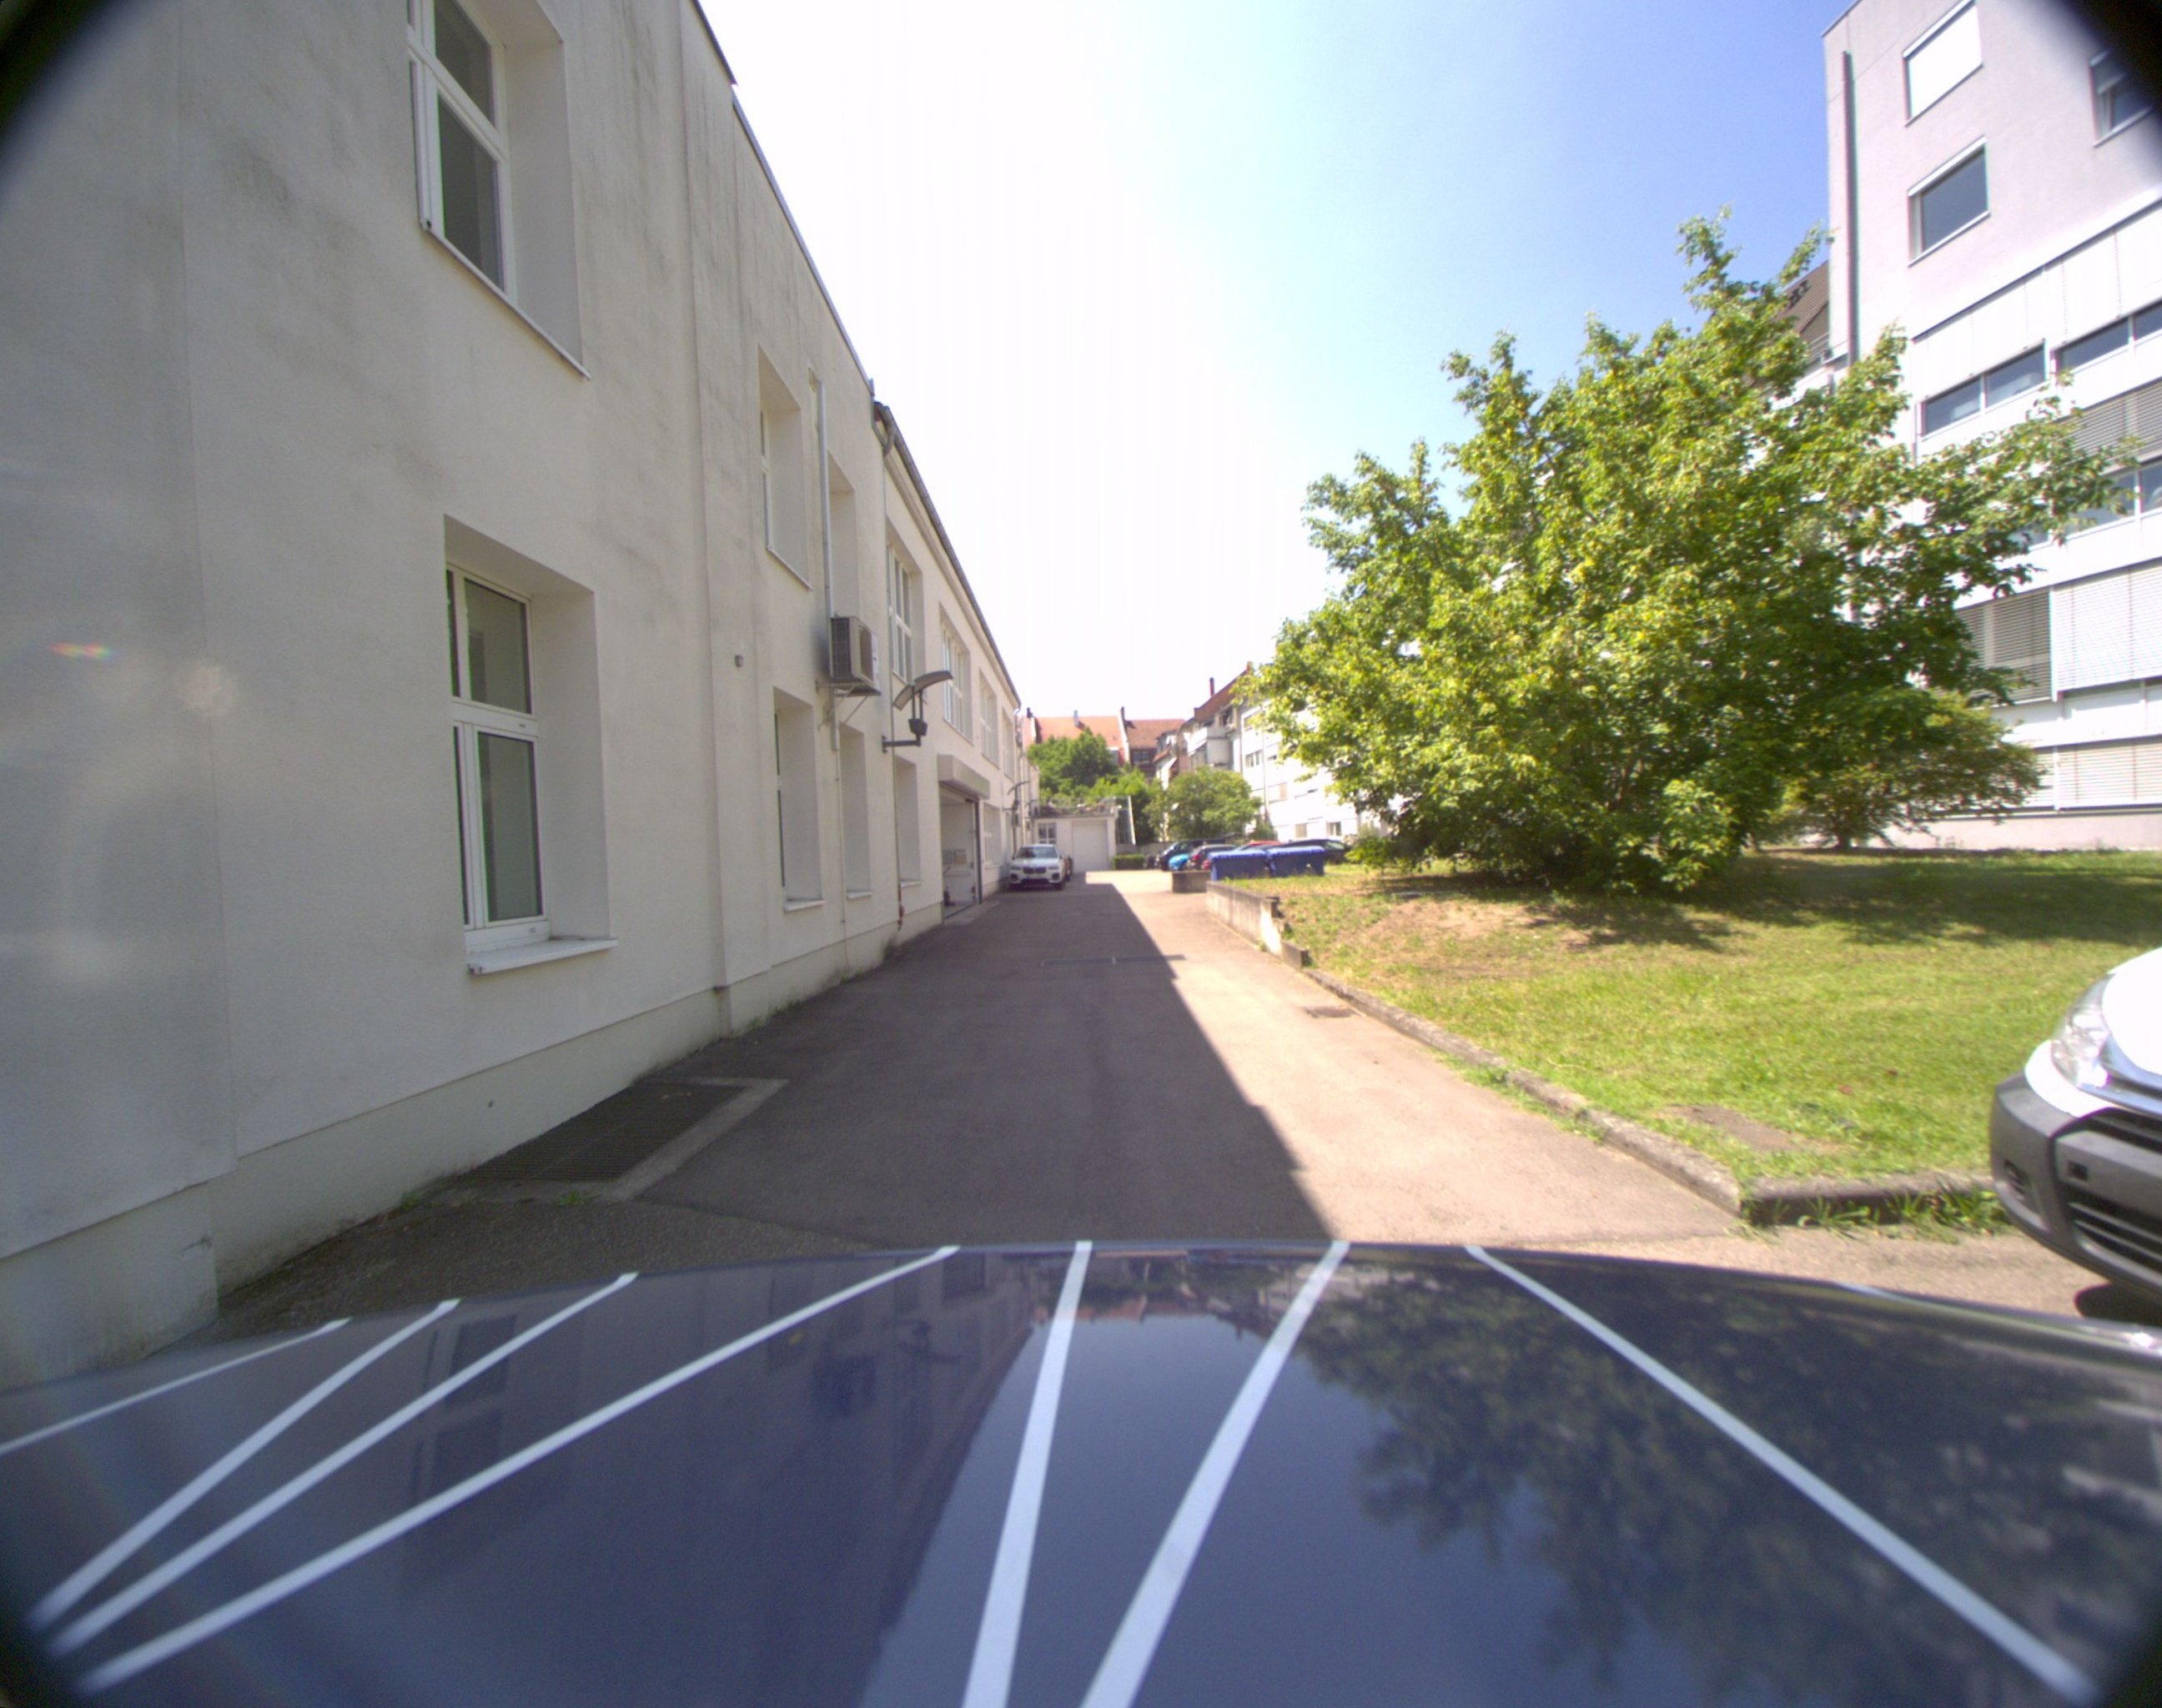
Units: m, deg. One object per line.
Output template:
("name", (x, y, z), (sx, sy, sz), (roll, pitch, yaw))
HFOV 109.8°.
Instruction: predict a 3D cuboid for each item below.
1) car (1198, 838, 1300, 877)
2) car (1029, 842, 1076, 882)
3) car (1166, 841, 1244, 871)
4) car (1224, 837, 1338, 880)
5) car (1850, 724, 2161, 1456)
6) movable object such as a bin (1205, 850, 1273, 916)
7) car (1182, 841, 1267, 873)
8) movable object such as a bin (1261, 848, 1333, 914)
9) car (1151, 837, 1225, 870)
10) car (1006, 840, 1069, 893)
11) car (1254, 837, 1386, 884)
("car", (7.632, 0.147, 34.737), (4.223, 1.560, 1.612), (-2, 2, -4))
("car", (-1.369, 0.343, 38.221), (2.011, 1.793, 4.726), (-2, 1, 1))
("car", (7.208, 0.111, 44.419), (4.223, 1.560, 1.612), (-2, 2, -4))
("car", (8.238, 0.168, 31.423), (4.223, 1.560, 1.612), (-2, 2, -4))
("car", (5.151, 0.528, 1.588), (4.858, 1.873, 2.067), (-2, 2, 3))
("movable object such as a bin", (3.533, 0.627, 17.078), (1.271, 1.381, 1.095), (-2, 2, 1))
("car", (7.773, 0.142, 41.353), (4.223, 1.560, 1.612), (-2, 2, -4))
("movable object such as a bin", (4.831, 0.578, 17.081), (1.271, 1.381, 1.095), (-2, 2, 1))
("car", (6.629, -0.063, 47.360), (4.223, 1.813, 2.008), (-2, 2, -4))
("car", (-1.590, 0.405, 29.420), (2.011, 1.793, 4.726), (-2, 1, 1))
("car", (8.983, 0.204, 28.706), (4.445, 1.560, 1.612), (-2, 2, -4))
